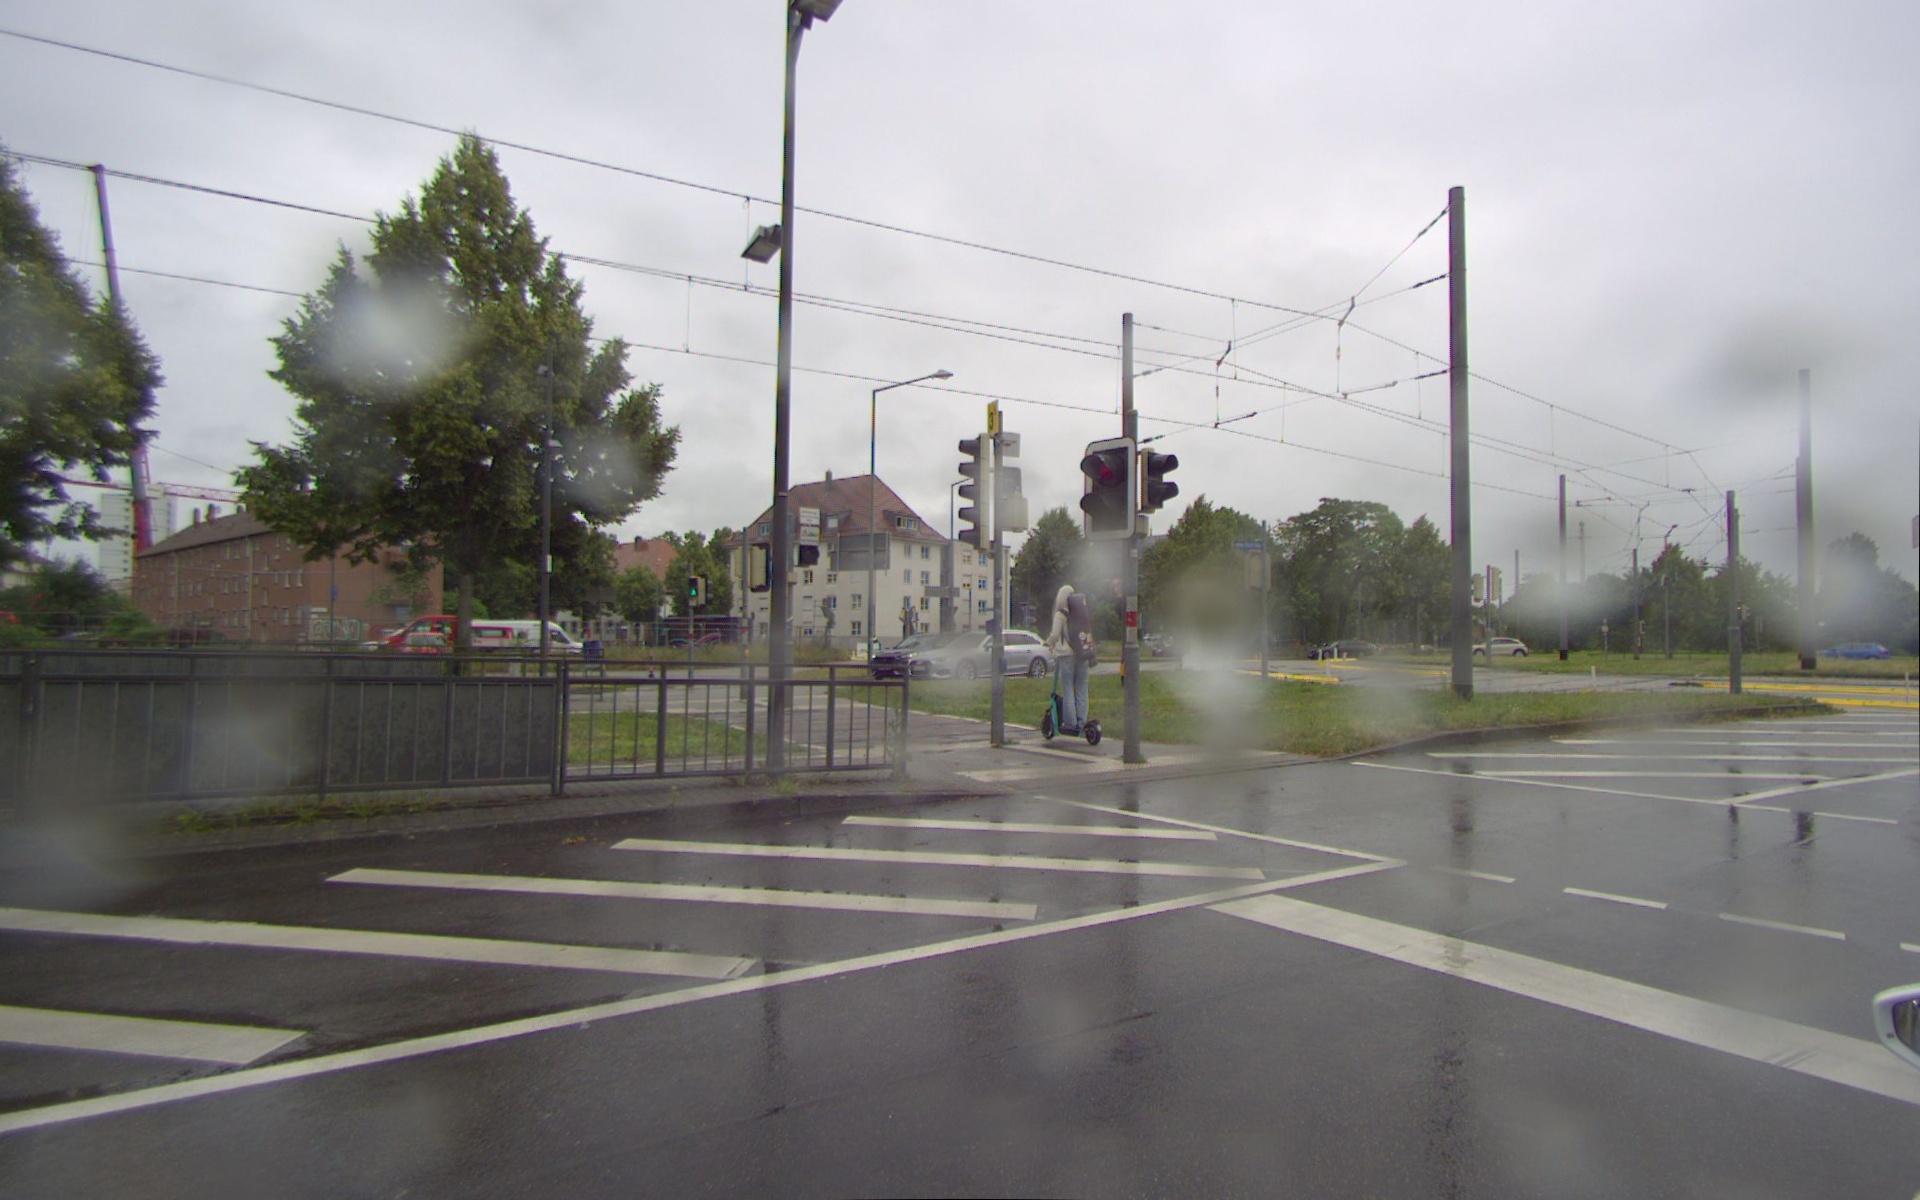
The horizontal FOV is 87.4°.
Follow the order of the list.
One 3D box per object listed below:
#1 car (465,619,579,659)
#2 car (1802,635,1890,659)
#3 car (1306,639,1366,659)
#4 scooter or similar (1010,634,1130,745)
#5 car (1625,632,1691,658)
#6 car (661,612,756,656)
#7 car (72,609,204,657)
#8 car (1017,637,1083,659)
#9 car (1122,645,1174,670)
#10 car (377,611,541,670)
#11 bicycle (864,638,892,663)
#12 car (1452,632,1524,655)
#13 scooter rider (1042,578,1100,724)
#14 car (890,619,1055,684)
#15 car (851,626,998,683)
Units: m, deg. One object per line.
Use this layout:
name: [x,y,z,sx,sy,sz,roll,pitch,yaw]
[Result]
car: [-25.909,2.330,59.626,6.004,2.308,1.617,1,-2,-18]
car: [55.944,2.932,63.485,1.609,1.473,3.944,2,-2,-38]
car: [27.615,3.607,73.816,3.915,1.473,1.621,1,-2,-10]
scooter or similar: [1.317,1.064,12.265,0.444,1.275,1.571,2,-3,-42]
car: [54.166,3.493,77.999,3.921,1.840,1.681,2,0,-1]
car: [-23.277,3.091,92.609,10.793,3.770,2.447,0,-2,39]
car: [-45.417,1.872,55.666,5.441,2.485,1.980,2,0,-36]
car: [6.379,3.399,70.934,4.529,1.473,1.625,0,-2,10]
car: [13.292,4.037,71.122,3.413,1.563,1.623,2,0,5]
car: [-22.233,1.799,44.883,6.389,2.502,1.616,1,-2,-20]
bicycle: [-6.999,4.316,85.636,2.226,2.040,0.508,2,0,9]
car: [35.830,2.955,68.211,4.030,1.473,1.624,0,-2,4]
scooter rider: [1.351,0.622,12.250,0.431,1.731,0.526,2,-4,-43]
car: [0.400,1.364,27.384,4.371,1.649,1.975,2,-2,-42]
car: [-1.053,1.653,31.341,4.371,1.649,1.975,2,-2,-42]
